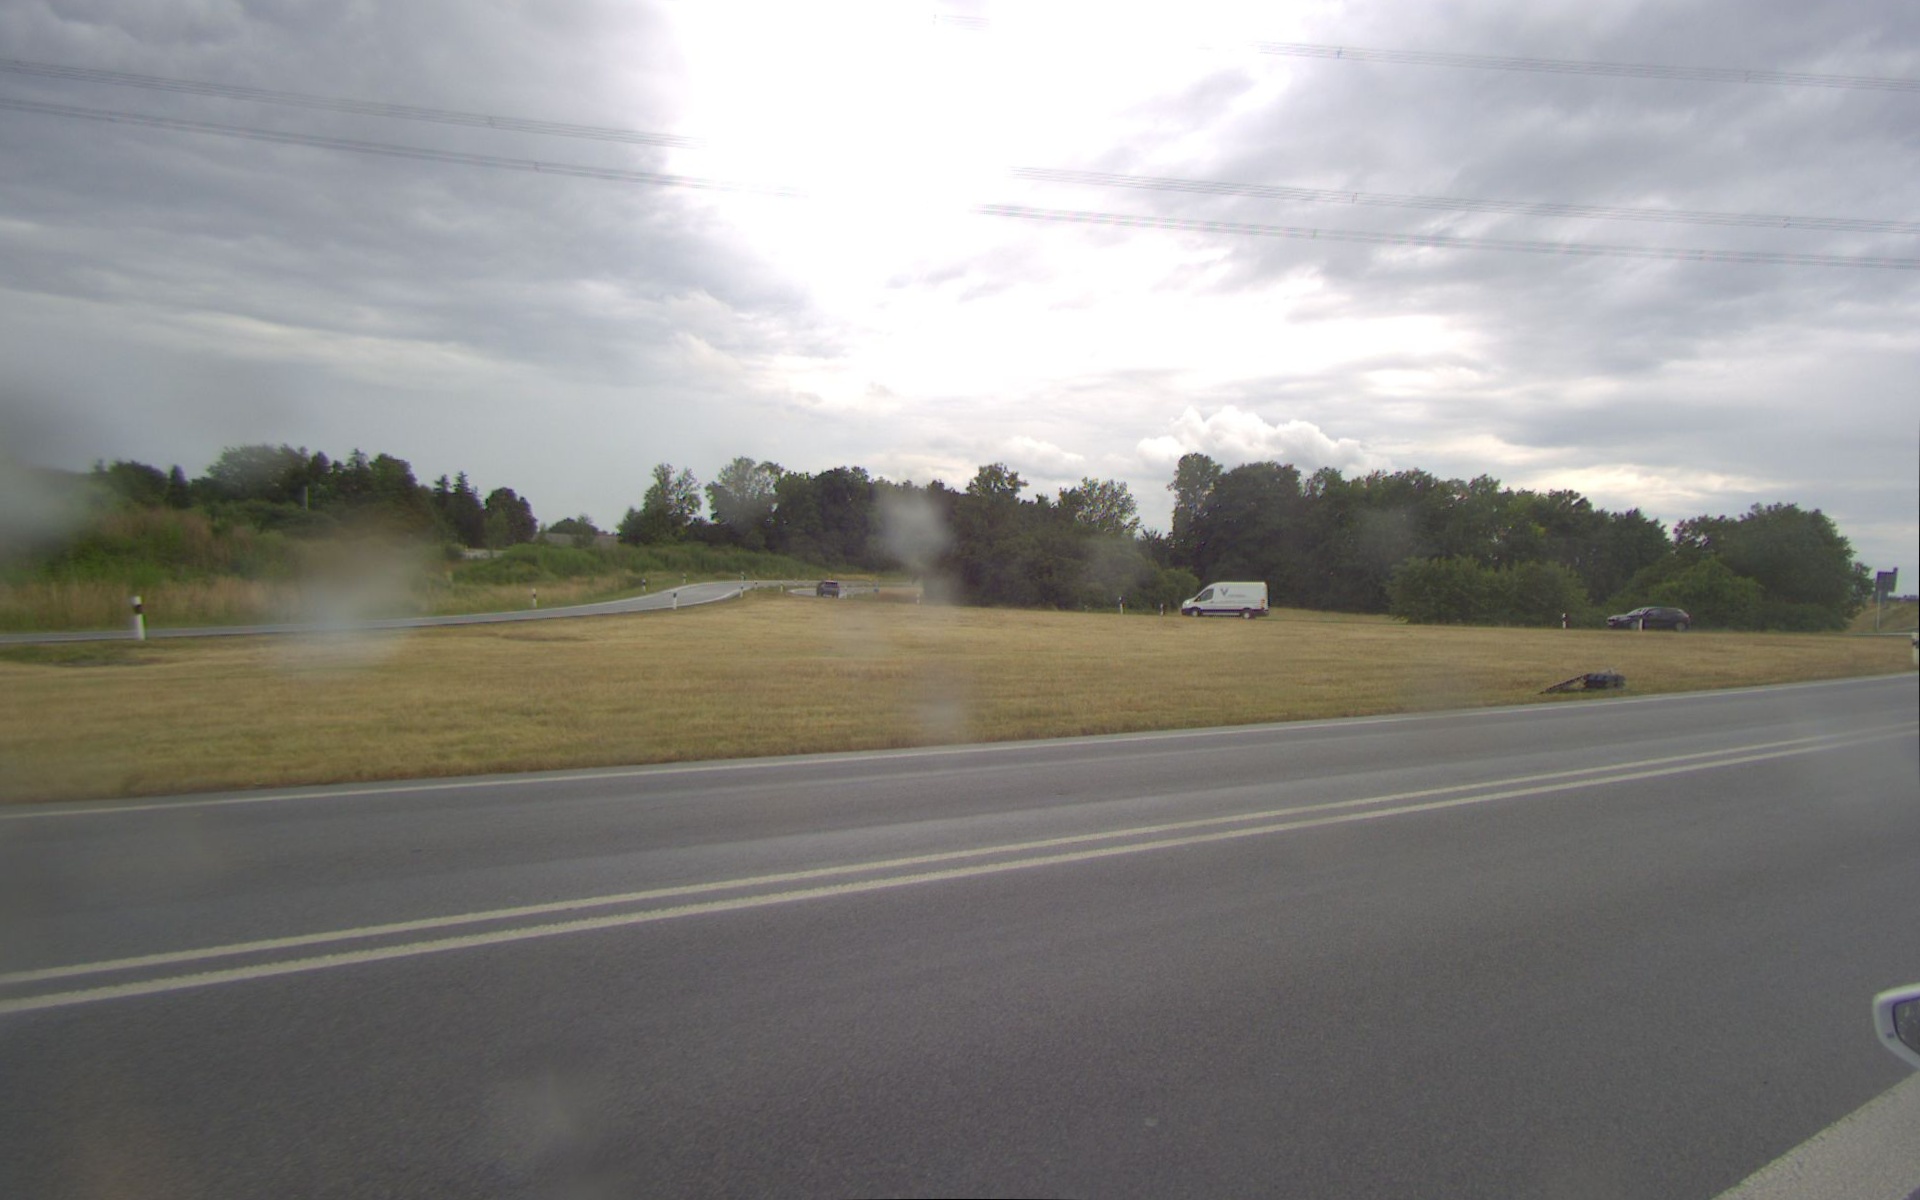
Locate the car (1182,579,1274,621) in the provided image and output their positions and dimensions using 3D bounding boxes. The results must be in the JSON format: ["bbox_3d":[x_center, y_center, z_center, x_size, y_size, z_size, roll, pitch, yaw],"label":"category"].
[{"bbox_3d":[17.188,-0.016,64.455,5.364,2.423,2.441,3,0,22],"label":"car"}]

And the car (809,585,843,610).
[{"bbox_3d":[-13.217,-0.239,99.070,1.975,2.040,3.971,3,3,-27],"label":"car"}]

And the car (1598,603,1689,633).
[{"bbox_3d":[39.301,1.007,57.863,3.836,1.625,1.989,1,1,10],"label":"car"}]
